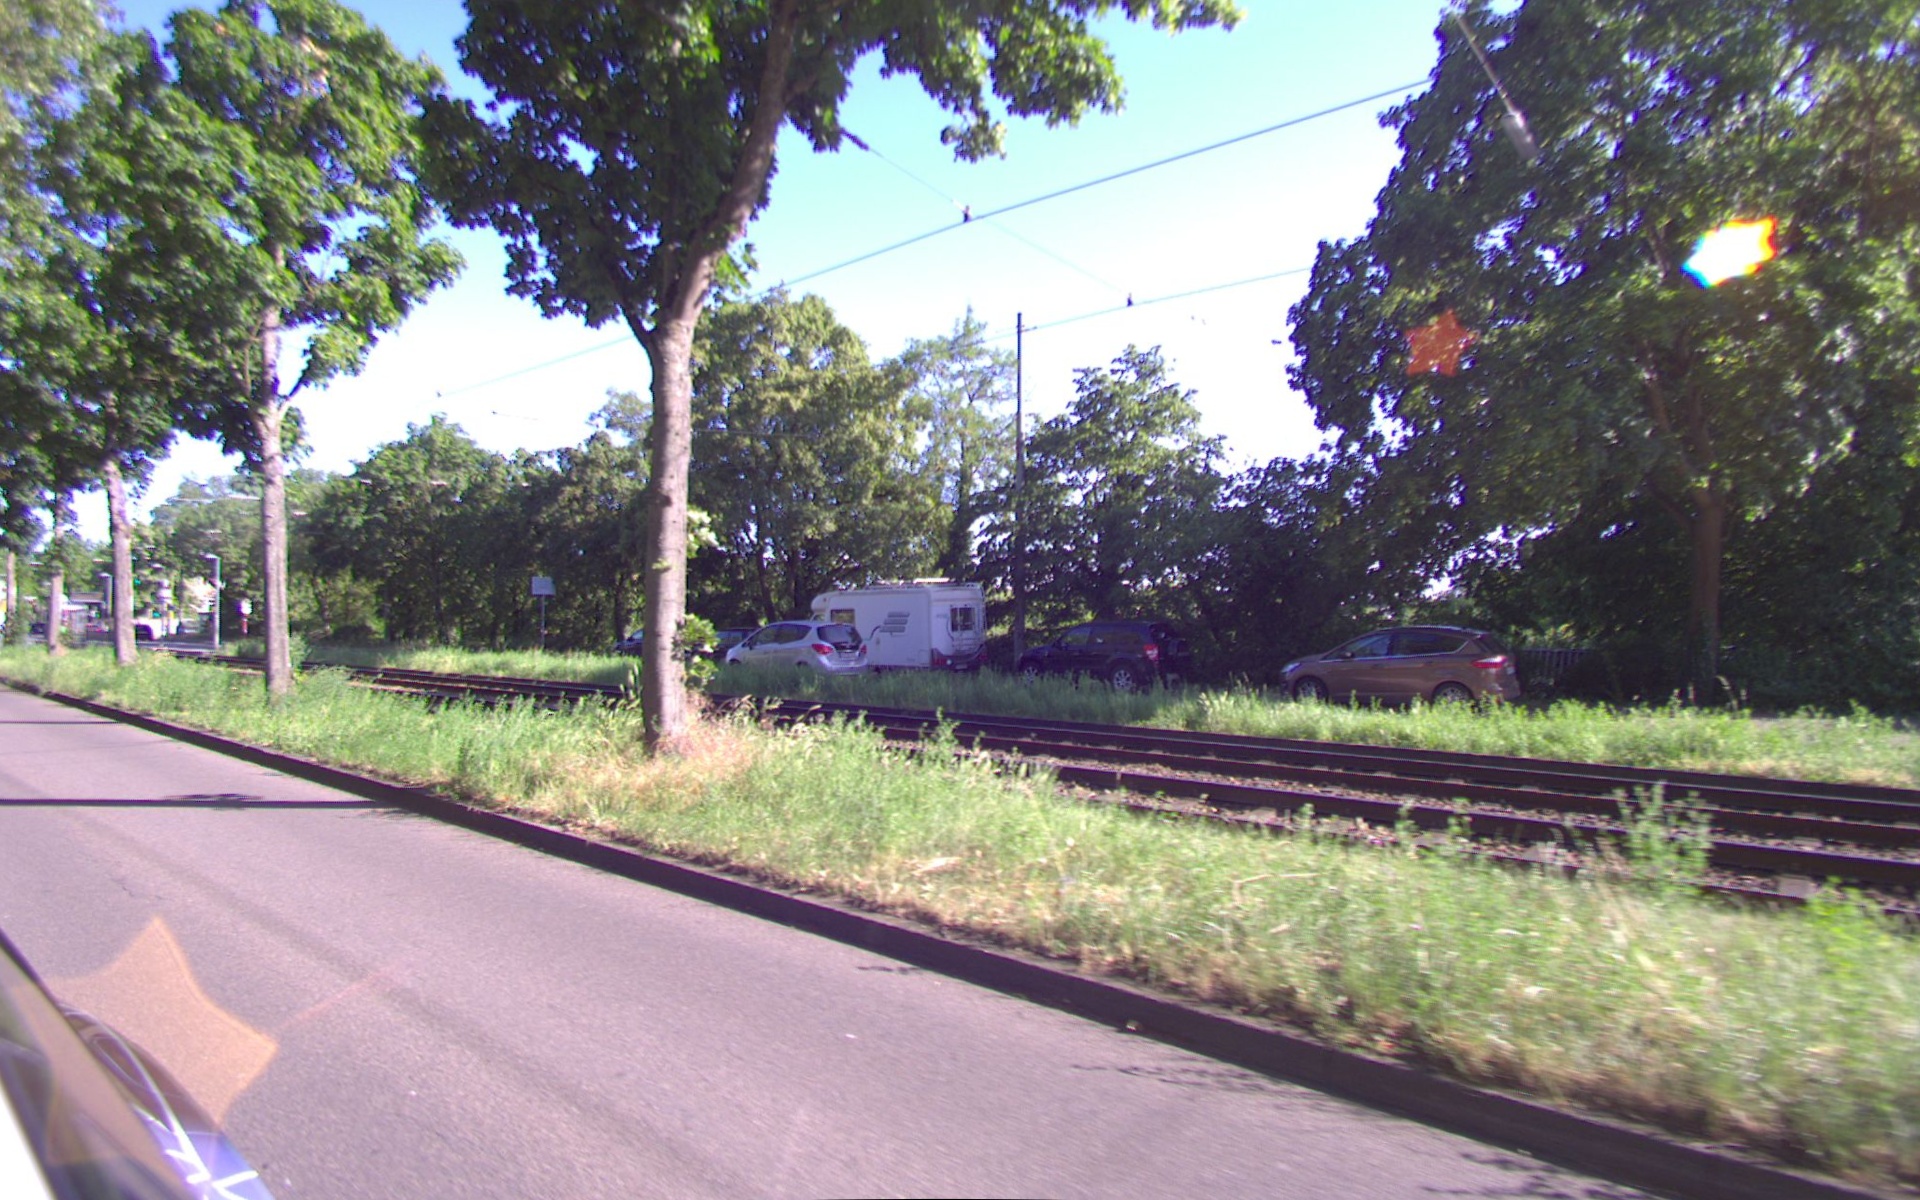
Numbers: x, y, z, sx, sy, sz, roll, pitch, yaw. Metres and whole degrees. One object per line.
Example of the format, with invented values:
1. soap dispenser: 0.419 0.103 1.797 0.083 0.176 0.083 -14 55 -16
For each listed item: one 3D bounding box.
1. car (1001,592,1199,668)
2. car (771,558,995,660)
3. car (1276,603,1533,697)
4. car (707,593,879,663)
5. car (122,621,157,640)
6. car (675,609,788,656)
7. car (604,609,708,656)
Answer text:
1. car: 3.256 0.656 24.140 4.530 1.635 1.606 -1 1 41
2. car: -2.340 0.274 28.863 6.795 2.600 2.203 -1 0 41
3. car: 8.479 0.876 19.535 4.247 1.596 1.656 0 1 43
4. car: -4.140 0.628 24.661 4.440 1.539 1.709 0 1 42
5. car: -70.140 2.590 86.495 4.591 1.506 1.619 0 -3 42
6. car: -7.721 1.053 34.036 3.999 1.445 1.692 0 1 42
7. car: -11.172 1.131 37.047 4.282 1.575 1.748 0 0 43
